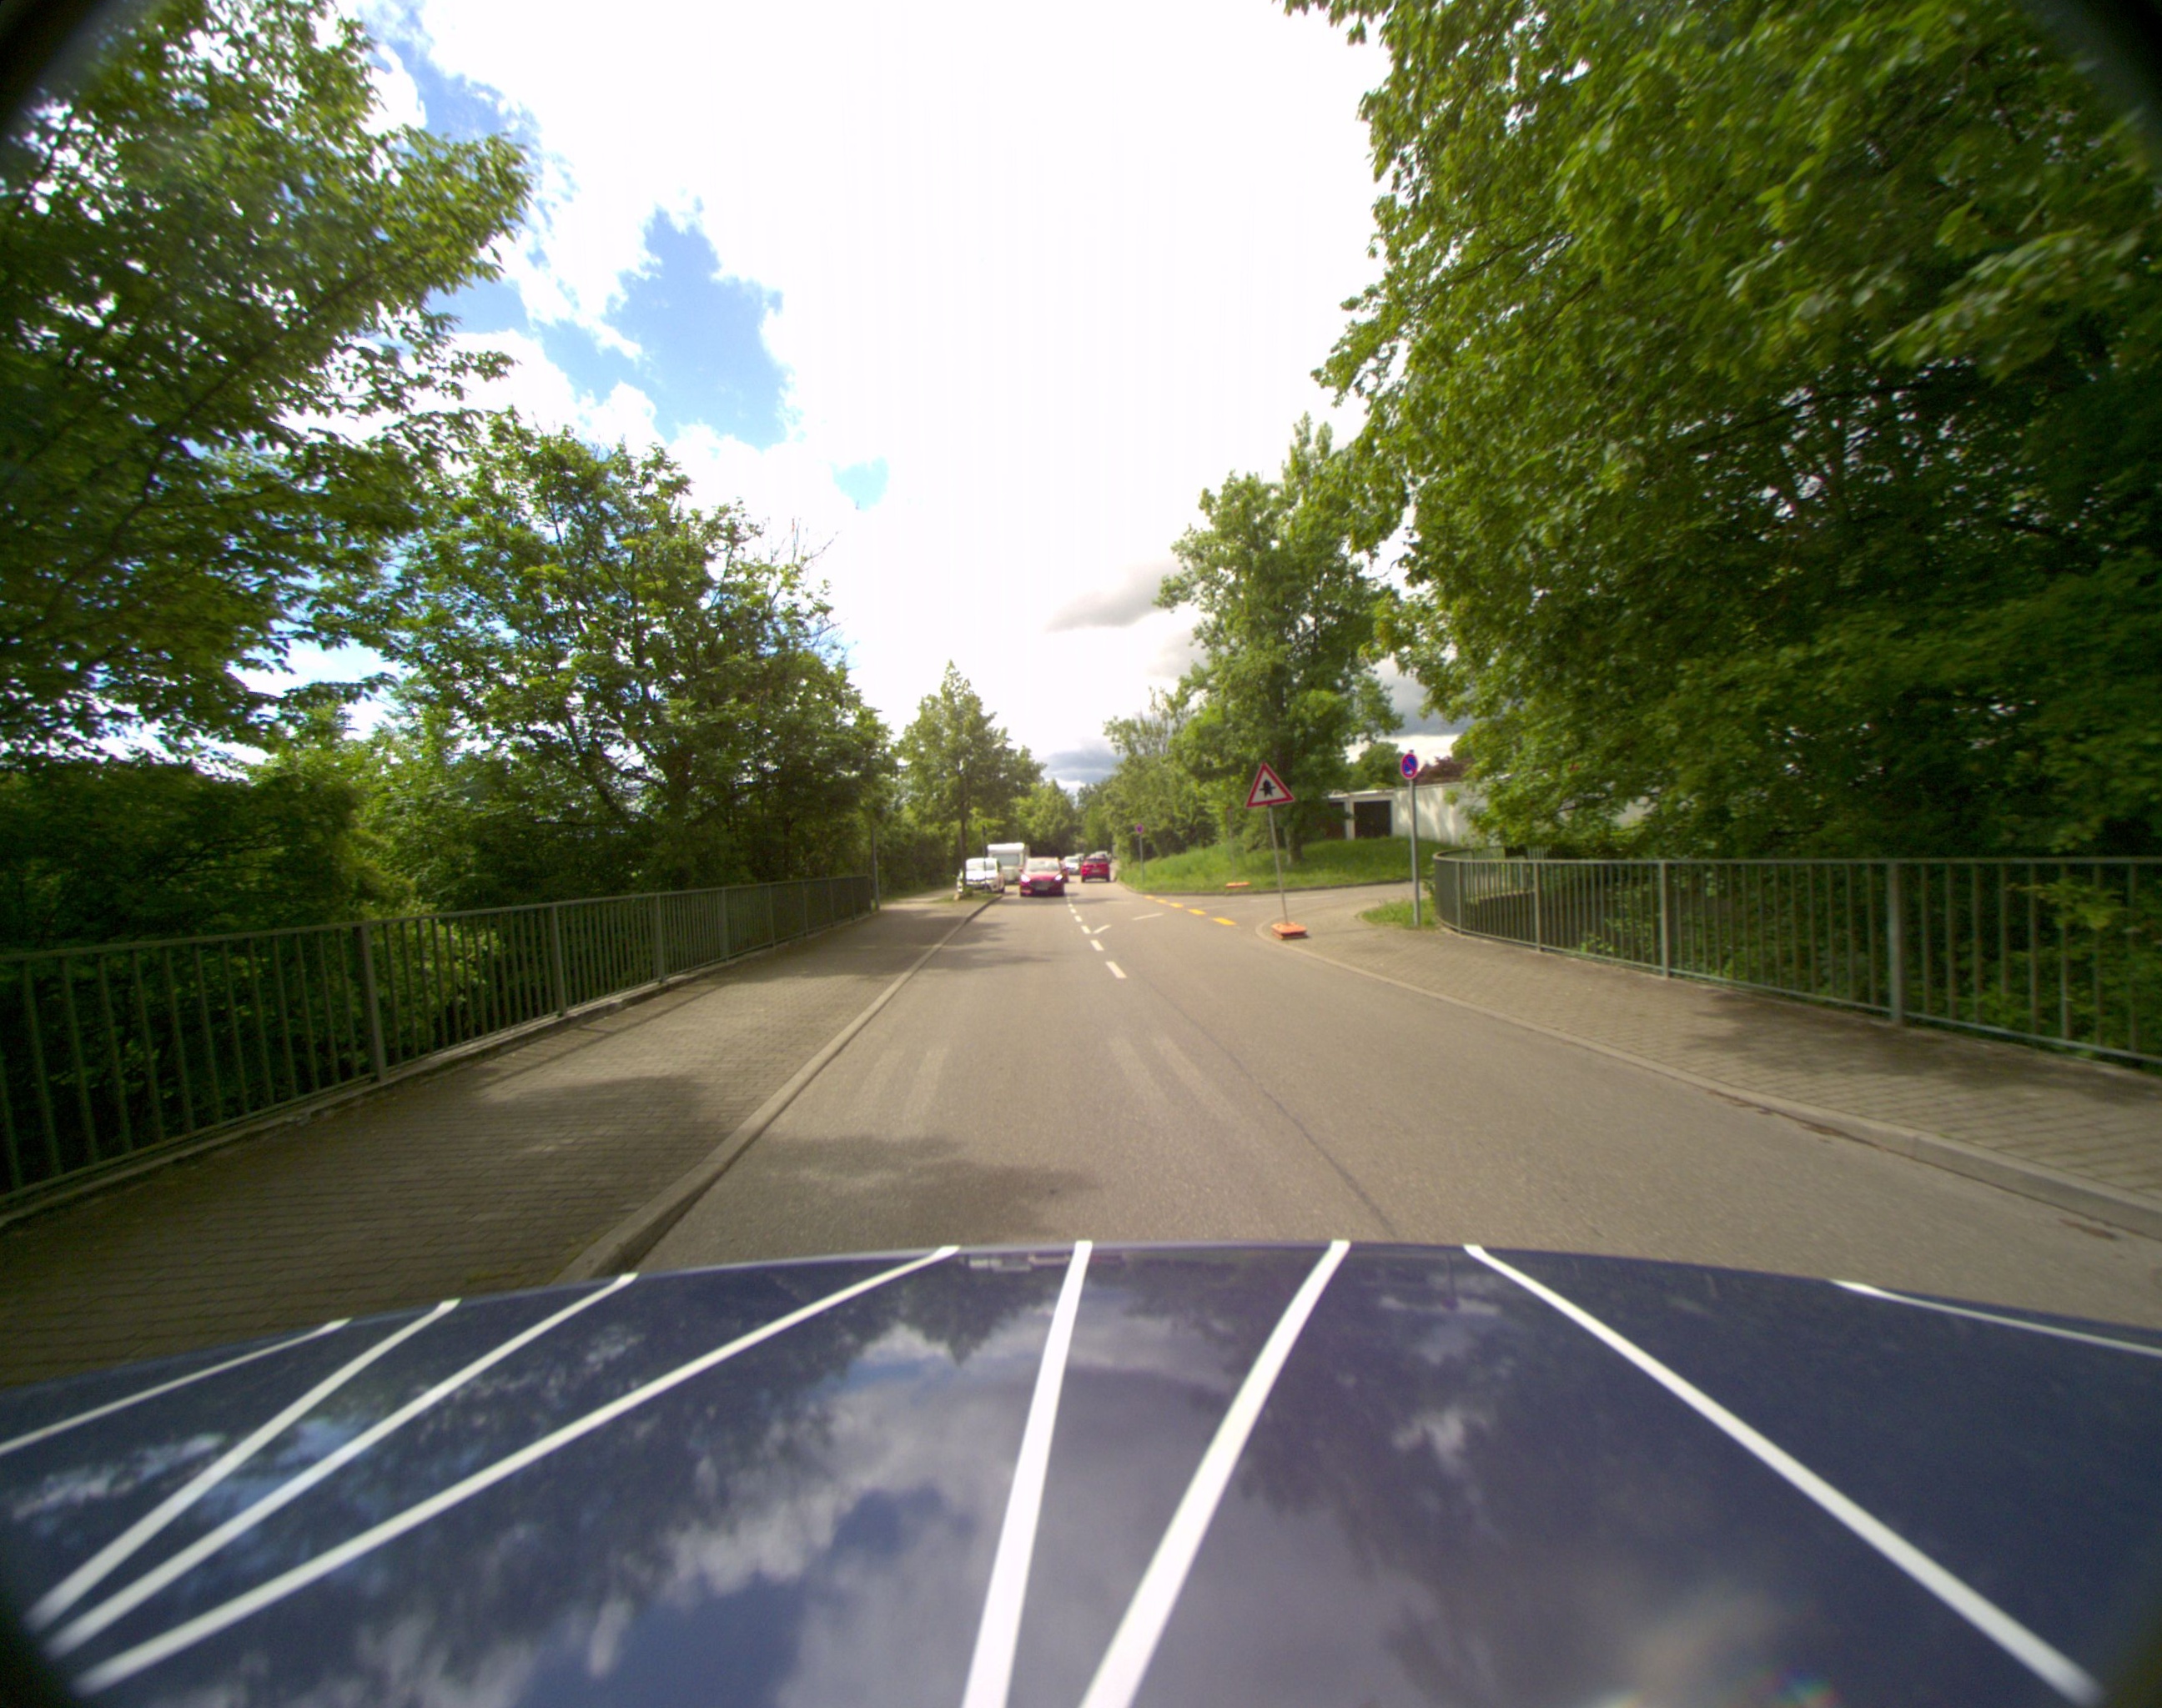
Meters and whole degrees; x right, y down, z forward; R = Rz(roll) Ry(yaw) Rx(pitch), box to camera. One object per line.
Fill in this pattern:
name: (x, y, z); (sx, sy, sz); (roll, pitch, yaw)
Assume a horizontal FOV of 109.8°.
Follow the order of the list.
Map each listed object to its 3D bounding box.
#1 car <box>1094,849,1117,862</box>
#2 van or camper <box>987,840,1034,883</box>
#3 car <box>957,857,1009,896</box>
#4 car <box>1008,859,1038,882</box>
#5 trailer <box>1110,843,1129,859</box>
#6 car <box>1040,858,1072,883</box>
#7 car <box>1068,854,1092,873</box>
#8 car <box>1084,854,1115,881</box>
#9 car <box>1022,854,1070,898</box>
car: (3.249, 0.181, 99.867); (1.865, 1.469, 4.906); (0, 2, 15)
van or camper: (-4.300, 0.421, 47.277); (2.360, 2.539, 5.074); (-1, 1, 1)
car: (-4.330, 0.944, 34.219); (1.809, 1.590, 4.371); (-1, 0, -1)
car: (-4.044, 1.128, 53.376); (1.686, 1.442, 4.480); (-2, 0, 1)
trailer: (5.574, -0.435, 108.318); (1.732, 2.067, 3.787); (0, 3, 19)
car: (-1.604, 1.066, 50.049); (1.796, 1.405, 4.112); (-3, 1, 1)
car: (-0.049, 0.795, 66.638); (1.795, 1.500, 4.114); (-2, 0, 4)
car: (1.233, 0.837, 50.032); (1.847, 1.649, 4.222); (-2, 0, 2)
car: (-1.487, 0.903, 33.193); (1.912, 1.689, 4.385); (-1, 1, -2)
